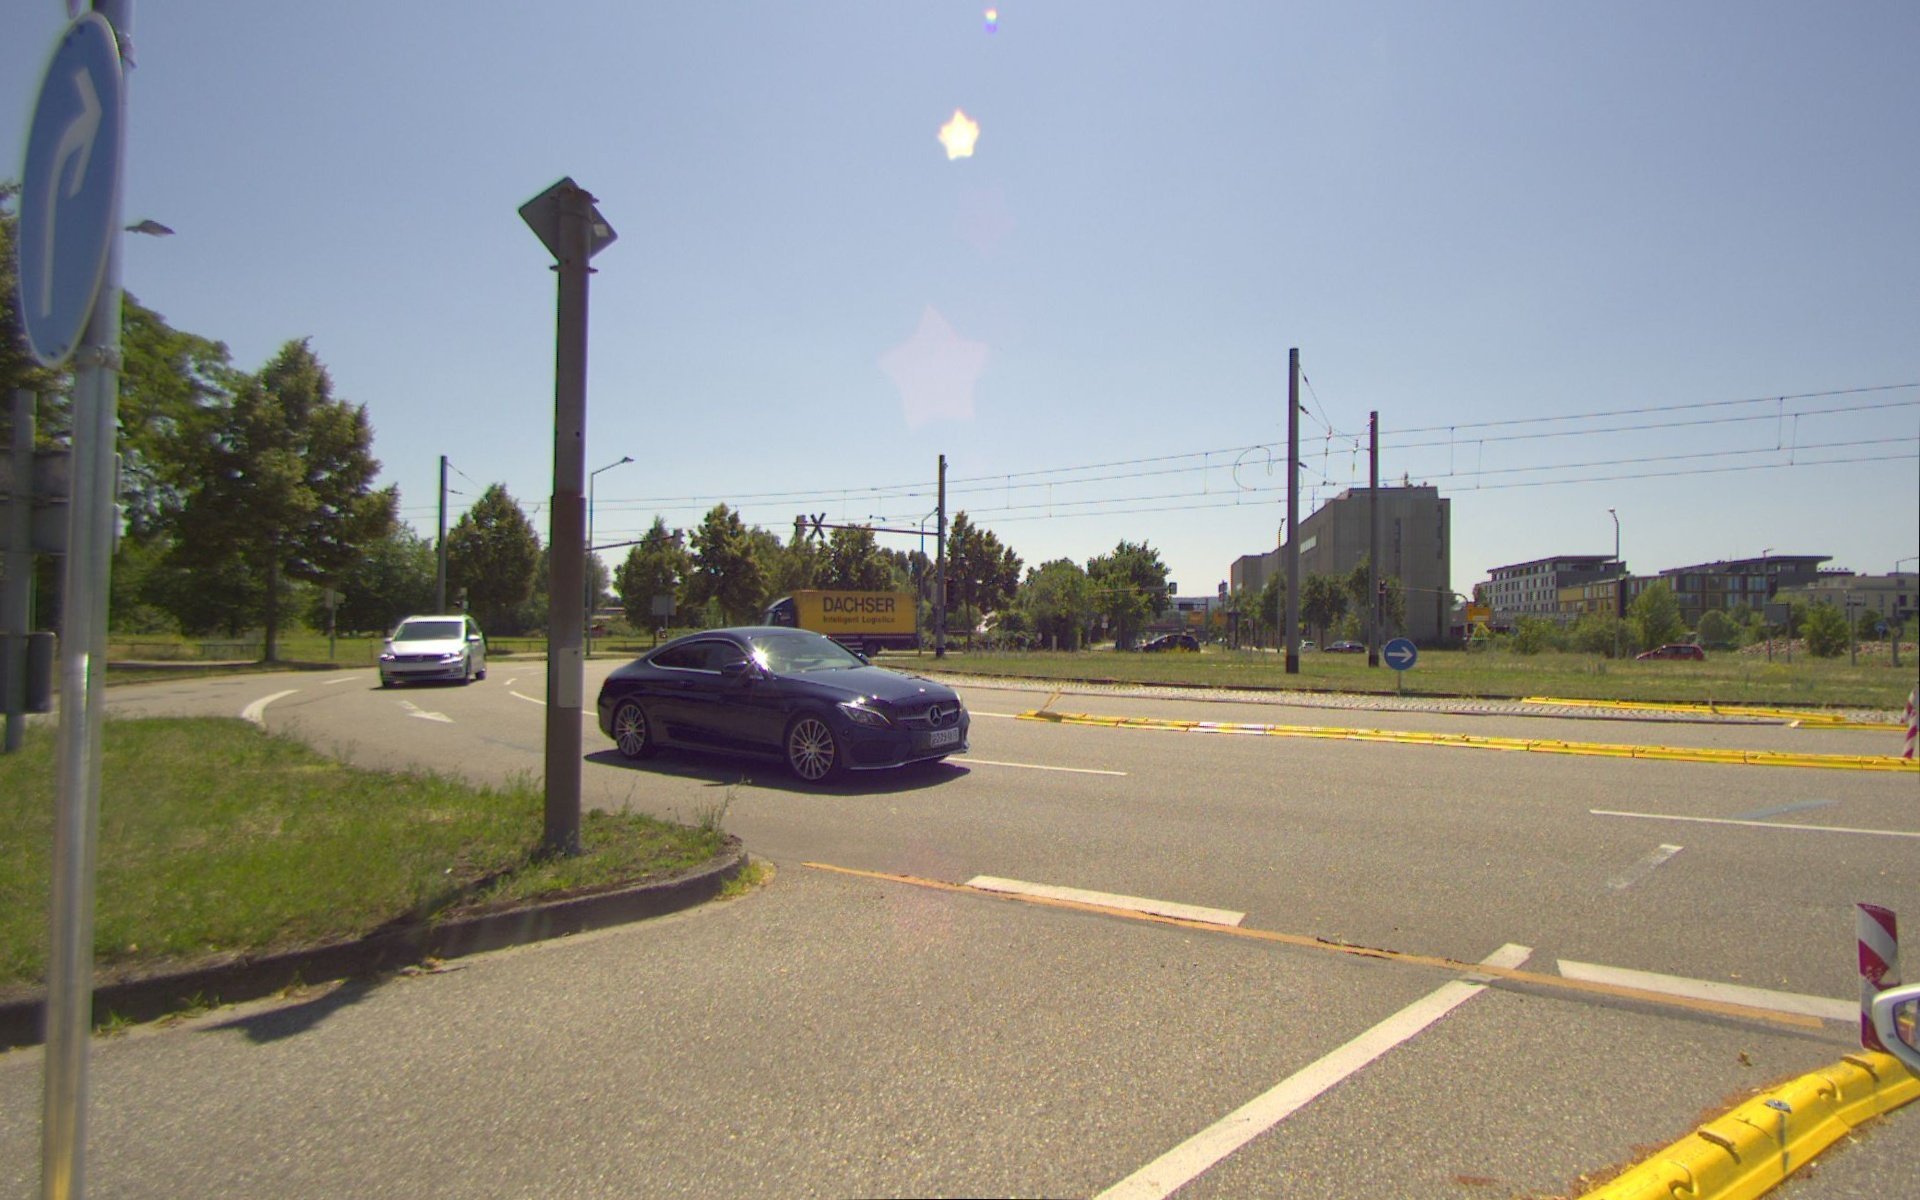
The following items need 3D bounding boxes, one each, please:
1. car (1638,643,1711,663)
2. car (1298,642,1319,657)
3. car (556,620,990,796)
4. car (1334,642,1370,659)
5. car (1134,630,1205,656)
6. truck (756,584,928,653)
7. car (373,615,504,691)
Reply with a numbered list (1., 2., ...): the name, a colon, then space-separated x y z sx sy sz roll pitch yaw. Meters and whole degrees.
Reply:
1. car: 42.727 3.136 60.127 3.459 1.104 1.494 0 -2 32
2. car: 42.199 5.974 121.600 1.959 1.639 4.003 2 -1 13
3. car: -2.162 0.968 10.641 4.880 1.455 1.849 -1 -2 40
4. car: 30.297 3.861 77.671 1.524 1.208 3.478 1 -2 2
5. car: 12.764 2.626 61.329 3.969 1.480 1.730 1 -2 0
6. truck: -6.646 1.151 57.441 9.497 3.707 2.688 2 -2 -29
7. car: -12.524 1.215 24.432 1.776 1.670 4.592 0 -1 -14
